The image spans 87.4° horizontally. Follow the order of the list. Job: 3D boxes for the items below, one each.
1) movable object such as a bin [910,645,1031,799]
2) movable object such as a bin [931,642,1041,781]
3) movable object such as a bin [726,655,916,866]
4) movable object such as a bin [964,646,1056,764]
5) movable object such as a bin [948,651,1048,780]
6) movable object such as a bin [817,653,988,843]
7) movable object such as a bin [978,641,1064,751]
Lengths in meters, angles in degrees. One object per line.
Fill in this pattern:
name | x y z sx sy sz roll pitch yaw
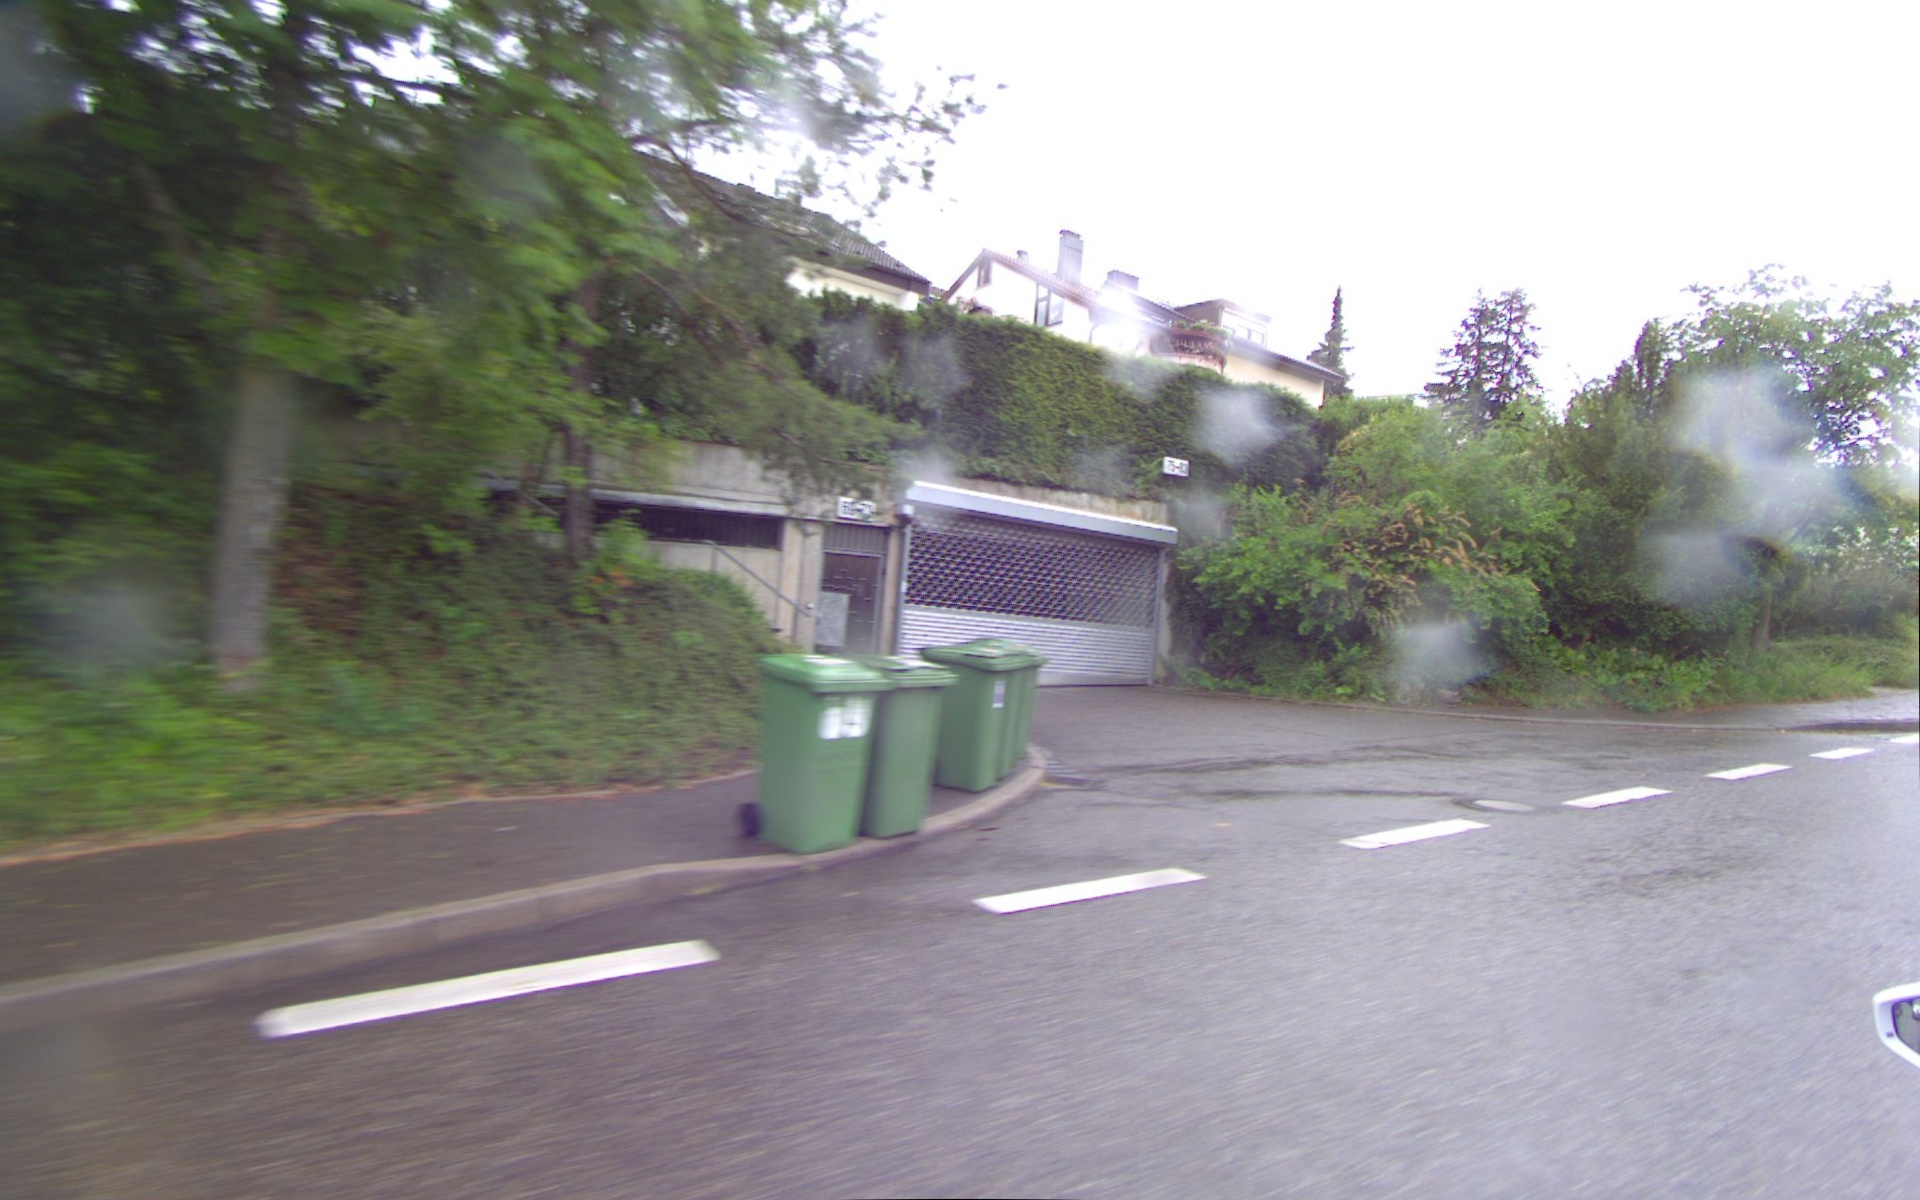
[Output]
movable object such as a bin | 0.098 0.922 7.845 0.764 1.041 0.720 4 2 11
movable object such as a bin | 0.236 0.922 8.580 0.764 1.041 0.720 4 2 11
movable object such as a bin | -0.807 0.886 5.876 0.767 1.041 0.717 5 2 33
movable object such as a bin | 0.514 1.024 10.039 0.764 1.041 0.720 4 2 11
movable object such as a bin | 0.369 1.046 9.305 0.764 1.041 0.720 4 2 11
movable object such as a bin | -0.364 0.906 6.469 0.767 1.041 0.717 5 2 33
movable object such as a bin | 0.664 1.002 10.756 0.764 1.041 0.720 4 2 11
